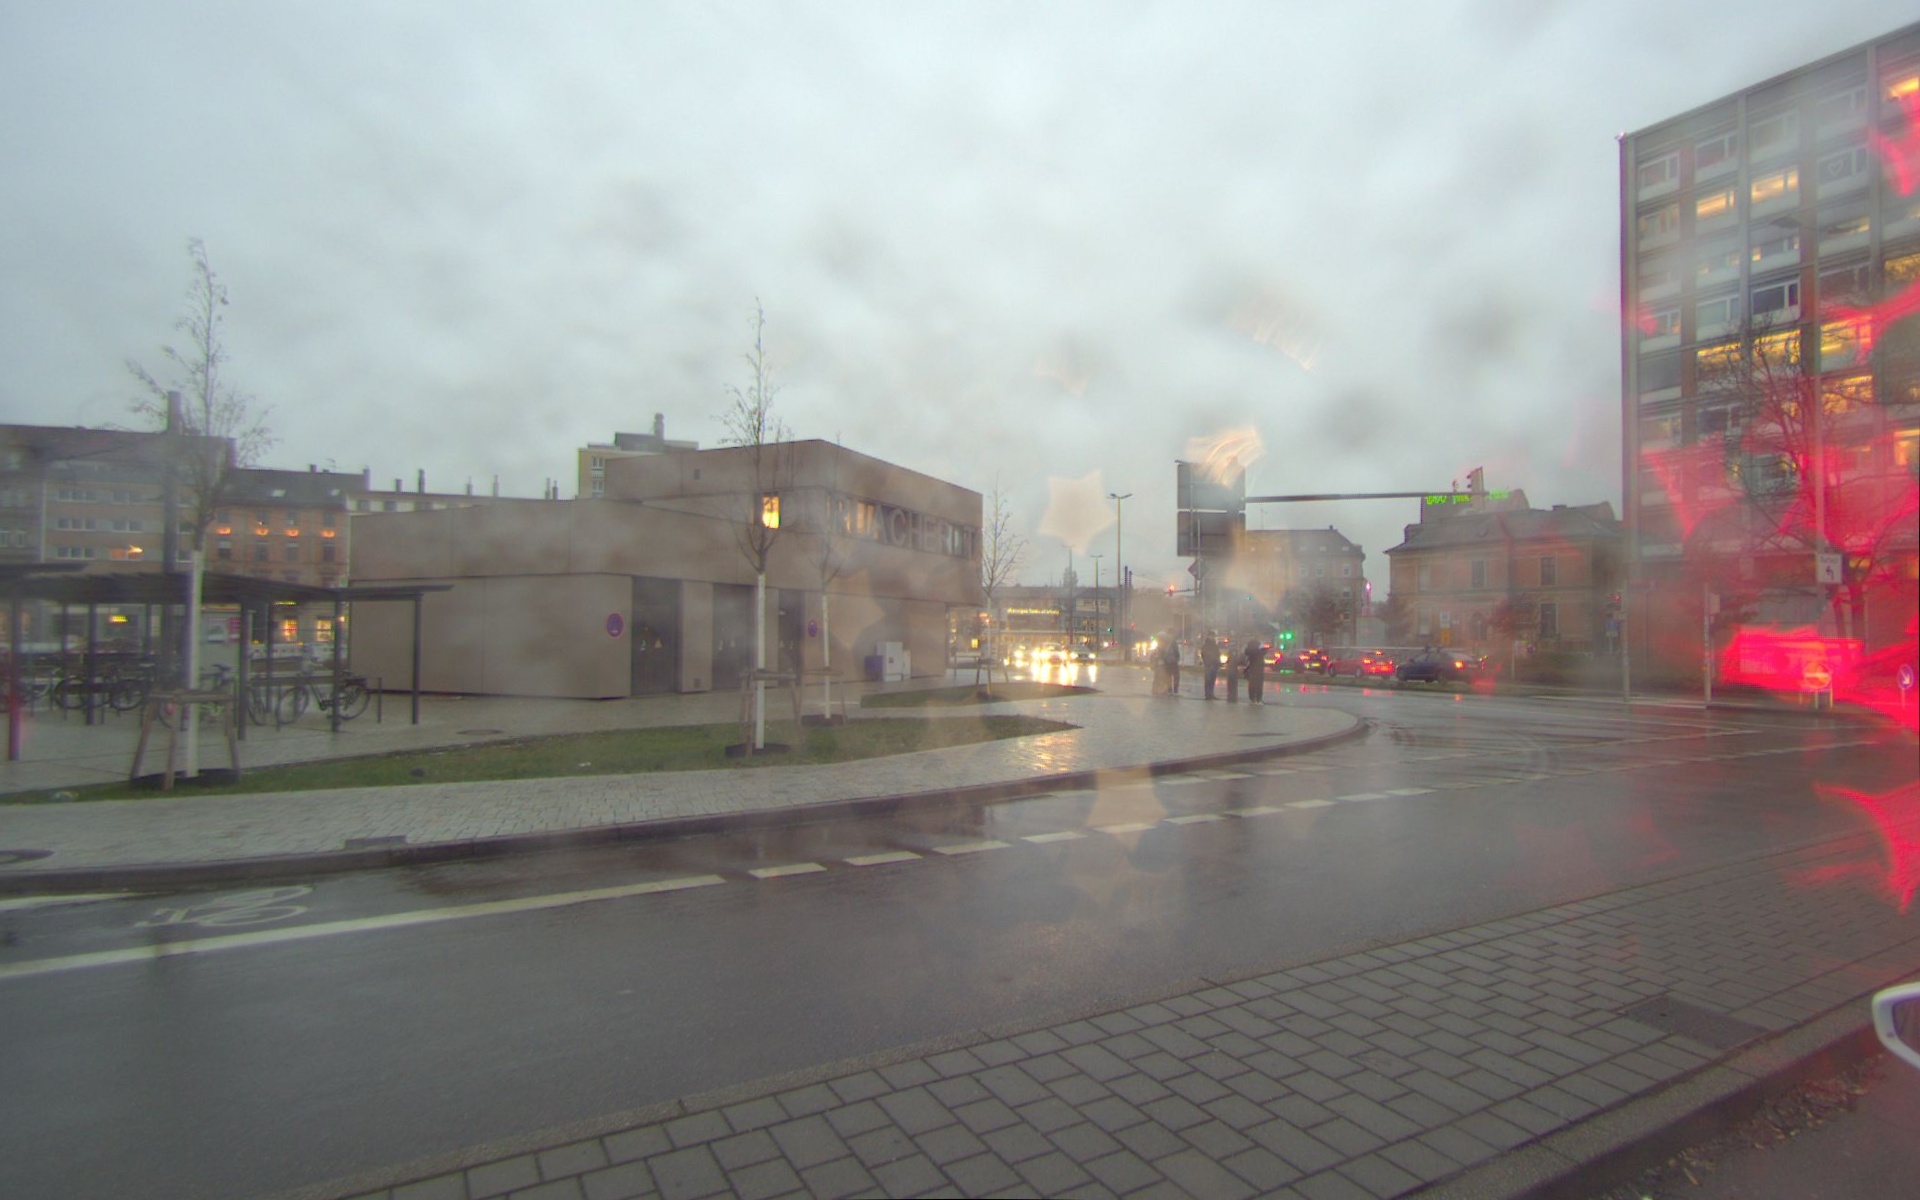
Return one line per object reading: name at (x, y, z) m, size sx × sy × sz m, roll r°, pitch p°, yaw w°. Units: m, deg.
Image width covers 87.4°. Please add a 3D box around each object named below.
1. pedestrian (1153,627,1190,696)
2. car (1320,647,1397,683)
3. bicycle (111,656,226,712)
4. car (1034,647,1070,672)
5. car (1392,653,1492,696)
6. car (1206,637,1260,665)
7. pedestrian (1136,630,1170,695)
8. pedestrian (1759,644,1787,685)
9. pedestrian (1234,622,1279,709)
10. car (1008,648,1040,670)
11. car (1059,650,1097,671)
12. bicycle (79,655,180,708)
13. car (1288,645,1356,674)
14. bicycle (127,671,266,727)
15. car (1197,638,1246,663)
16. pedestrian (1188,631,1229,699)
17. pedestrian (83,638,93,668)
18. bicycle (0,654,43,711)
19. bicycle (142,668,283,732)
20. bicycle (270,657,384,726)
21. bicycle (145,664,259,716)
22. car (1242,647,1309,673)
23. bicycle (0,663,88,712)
pedestrian at (5.838, 1.687, 27.668) m, size 0.671 × 1.863 × 0.726 m, roll 1°, pitch -3°, yaw -42°
car at (20.493, 3.314, 51.817) m, size 1.795 × 1.589 × 3.991 m, roll 2°, pitch 0°, yaw -11°
bicycle at (-16.531, 1.740, 21.037) m, size 0.466 × 1.087 × 1.830 m, roll 1°, pitch -2°, yaw 26°
car at (5.827, 3.744, 63.729) m, size 1.712 × 1.467 × 3.712 m, roll 0°, pitch -2°, yaw -4°
car at (21.513, 3.310, 45.029) m, size 1.798 × 1.589 × 3.984 m, roll 2°, pitch 0°, yaw -18°
car at (19.616, 3.659, 72.354) m, size 3.514 × 1.850 × 1.672 m, roll 2°, pitch 0°, yaw 8°
pedestrian at (5.428, 1.745, 28.228) m, size 0.544 × 1.793 × 0.734 m, roll 1°, pitch -3°, yaw -43°
pedestrian at (34.948, 2.766, 43.164) m, size 0.626 × 1.710 × 0.640 m, roll 0°, pitch -2°, yaw -13°
pedestrian at (7.198, 1.581, 24.383) m, size 0.971 × 2.047 × 0.802 m, roll -1°, pitch -2°, yaw 19°
car at (4.842, 4.477, 76.340) m, size 1.901 × 1.572 × 4.699 m, roll 1°, pitch -3°, yaw -2°
car at (8.774, 4.467, 74.889) m, size 1.777 × 1.496 × 4.588 m, roll 1°, pitch -3°, yaw -7°
bicycle at (-17.688, 1.714, 21.431) m, size 0.511 × 1.050 × 1.574 m, roll 1°, pitch -2°, yaw 19°
car at (20.898, 3.412, 58.078) m, size 3.364 × 1.481 × 1.515 m, roll 2°, pitch 0°, yaw -1°
bicycle at (-13.587, 1.741, 17.950) m, size 0.466 × 0.903 × 1.923 m, roll 1°, pitch -2°, yaw 29°
car at (19.387, 3.726, 74.498) m, size 3.321 × 1.724 × 1.526 m, roll 2°, pitch 0°, yaw 8°
pedestrian at (6.587, 1.708, 26.627) m, size 0.838 × 1.778 × 0.659 m, roll 0°, pitch -2°, yaw -14°
pedestrian at (-61.438, 3.727, 70.774) m, size 0.407 × 2.040 × 0.441 m, roll 0°, pitch -2°, yaw -22°
bicycle at (-19.395, 1.636, 19.837) m, size 0.466 × 1.122 × 1.797 m, roll 1°, pitch -2°, yaw 29°
bicycle at (-12.937, 1.706, 17.457) m, size 0.466 × 0.989 × 1.923 m, roll 1°, pitch -2°, yaw 29°
bicycle at (-11.751, 1.679, 18.718) m, size 0.605 × 1.172 × 1.755 m, roll 1°, pitch -2°, yaw 20°
bicycle at (-15.181, 1.782, 20.172) m, size 0.466 × 0.968 × 1.767 m, roll 1°, pitch -2°, yaw 29°
car at (20.086, 3.810, 63.978) m, size 3.741 × 1.502 × 1.602 m, roll 2°, pitch 0°, yaw -1°
bicycle at (-18.510, 1.736, 19.988) m, size 0.466 × 0.903 × 1.693 m, roll 1°, pitch -2°, yaw 24°
